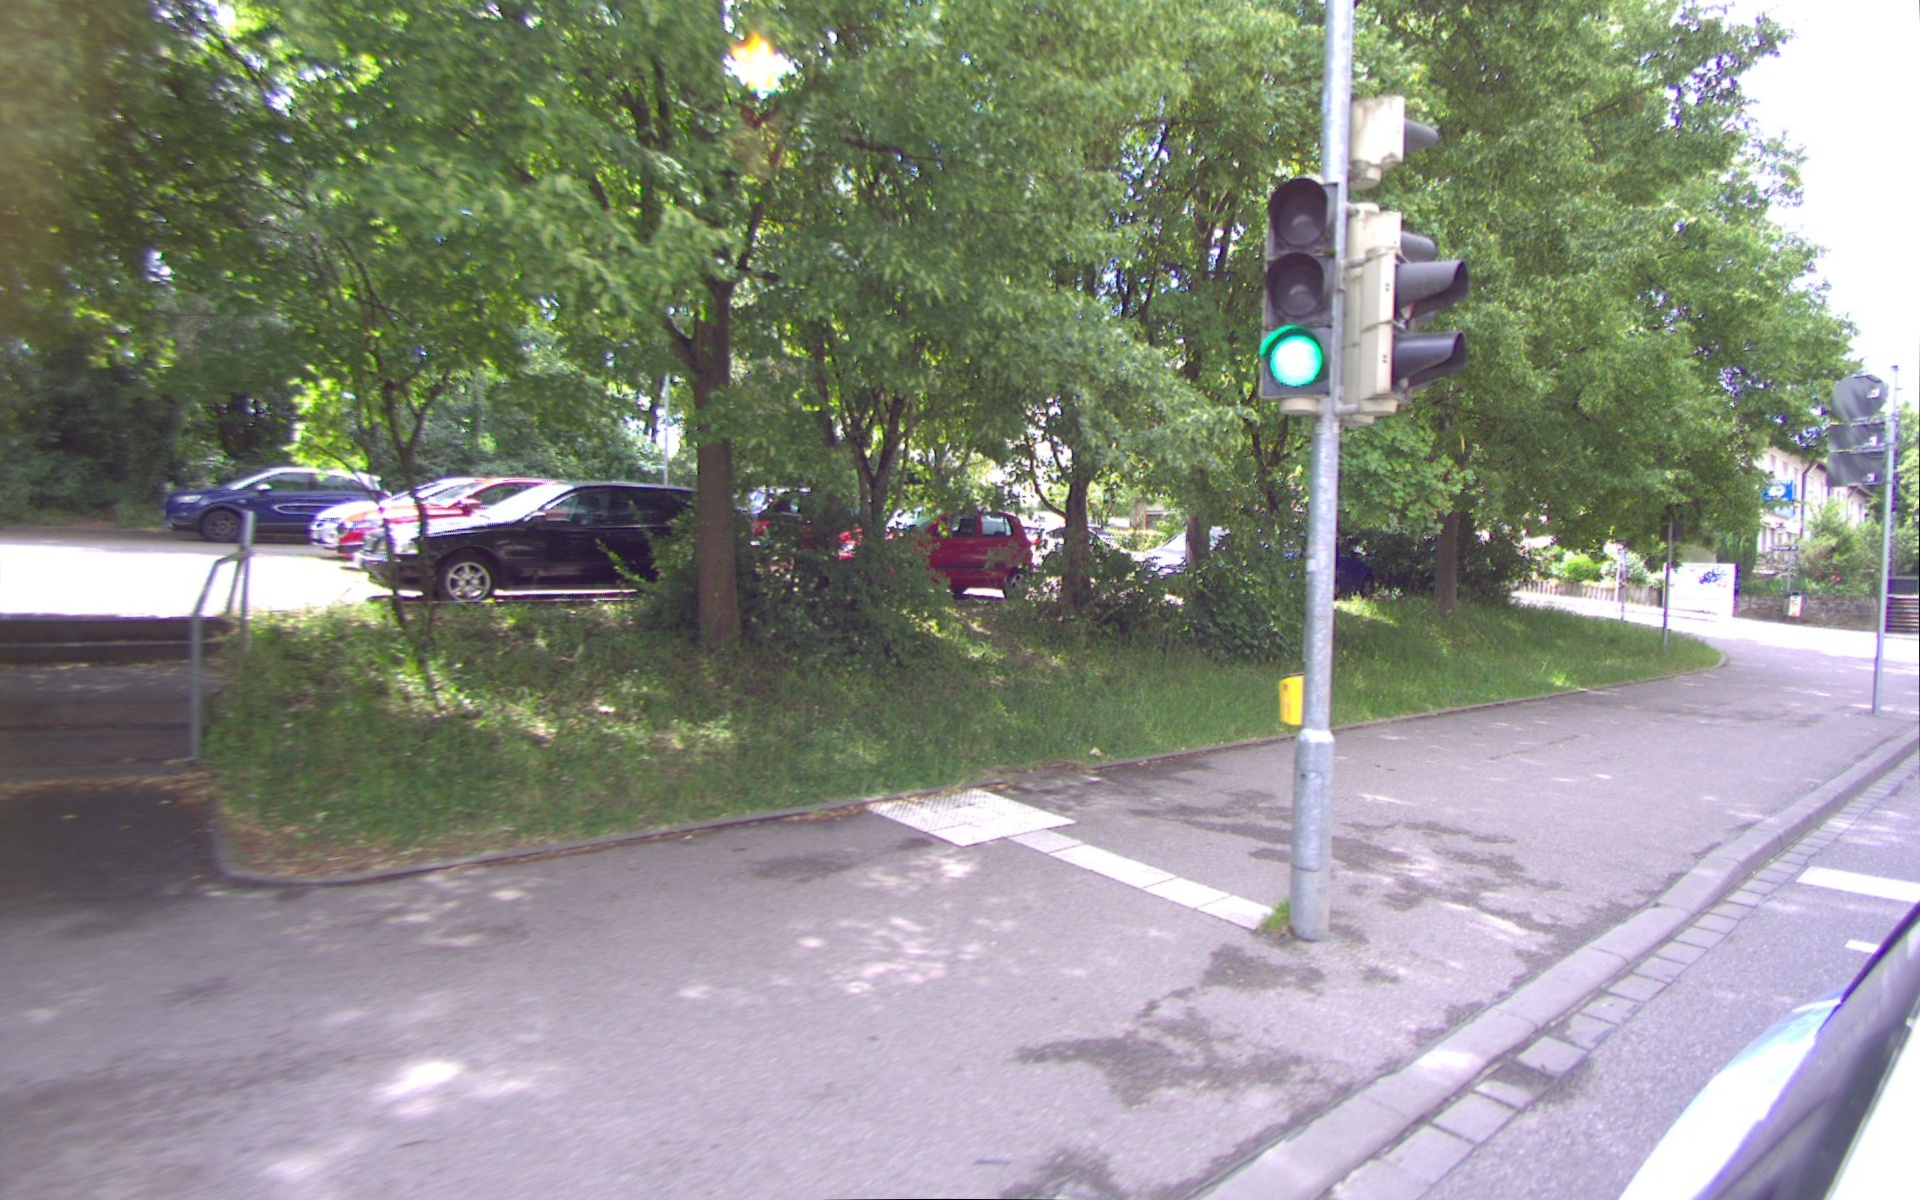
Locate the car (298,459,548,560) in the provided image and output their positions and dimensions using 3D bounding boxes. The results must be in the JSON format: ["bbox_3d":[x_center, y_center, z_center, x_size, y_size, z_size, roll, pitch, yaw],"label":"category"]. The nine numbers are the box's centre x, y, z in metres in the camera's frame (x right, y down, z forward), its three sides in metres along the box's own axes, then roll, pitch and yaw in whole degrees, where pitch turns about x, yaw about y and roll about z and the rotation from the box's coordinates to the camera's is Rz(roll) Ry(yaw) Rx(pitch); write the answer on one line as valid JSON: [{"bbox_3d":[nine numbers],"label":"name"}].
[{"bbox_3d":[-9.331,-1.535,17.712,3.598,1.495,1.635,0,5,-41],"label":"car"}]

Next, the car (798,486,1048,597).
[{"bbox_3d":[-0.520,-0.883,15.762,3.598,1.518,1.665,0,5,-41],"label":"car"}]

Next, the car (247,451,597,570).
[{"bbox_3d":[-8.111,-1.297,15.512,4.464,1.495,1.757,0,5,-41],"label":"car"}]

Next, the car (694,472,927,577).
[{"bbox_3d":[-2.552,-1.282,17.633,3.598,1.601,1.757,0,5,-41],"label":"car"}]

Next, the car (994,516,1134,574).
[{"bbox_3d":[2.912,-1.555,27.981,3.859,1.436,1.620,-3,7,-40],"label":"car"}]

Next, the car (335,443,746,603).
[{"bbox_3d":[-4.708,-0.826,11.681,4.066,1.532,1.631,0,6,-41],"label":"car"}]

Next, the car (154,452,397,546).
[{"bbox_3d":[-14.416,-2.050,21.402,4.030,1.644,2.063,0,3,-42],"label":"car"}]

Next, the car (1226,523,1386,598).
[{"bbox_3d":[7.820,-0.923,22.722,3.751,1.529,1.826,-3,5,-43],"label":"car"}]

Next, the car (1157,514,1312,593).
[{"bbox_3d":[6.586,-1.123,24.106,3.841,1.653,1.682,-2,7,-43],"label":"car"}]
